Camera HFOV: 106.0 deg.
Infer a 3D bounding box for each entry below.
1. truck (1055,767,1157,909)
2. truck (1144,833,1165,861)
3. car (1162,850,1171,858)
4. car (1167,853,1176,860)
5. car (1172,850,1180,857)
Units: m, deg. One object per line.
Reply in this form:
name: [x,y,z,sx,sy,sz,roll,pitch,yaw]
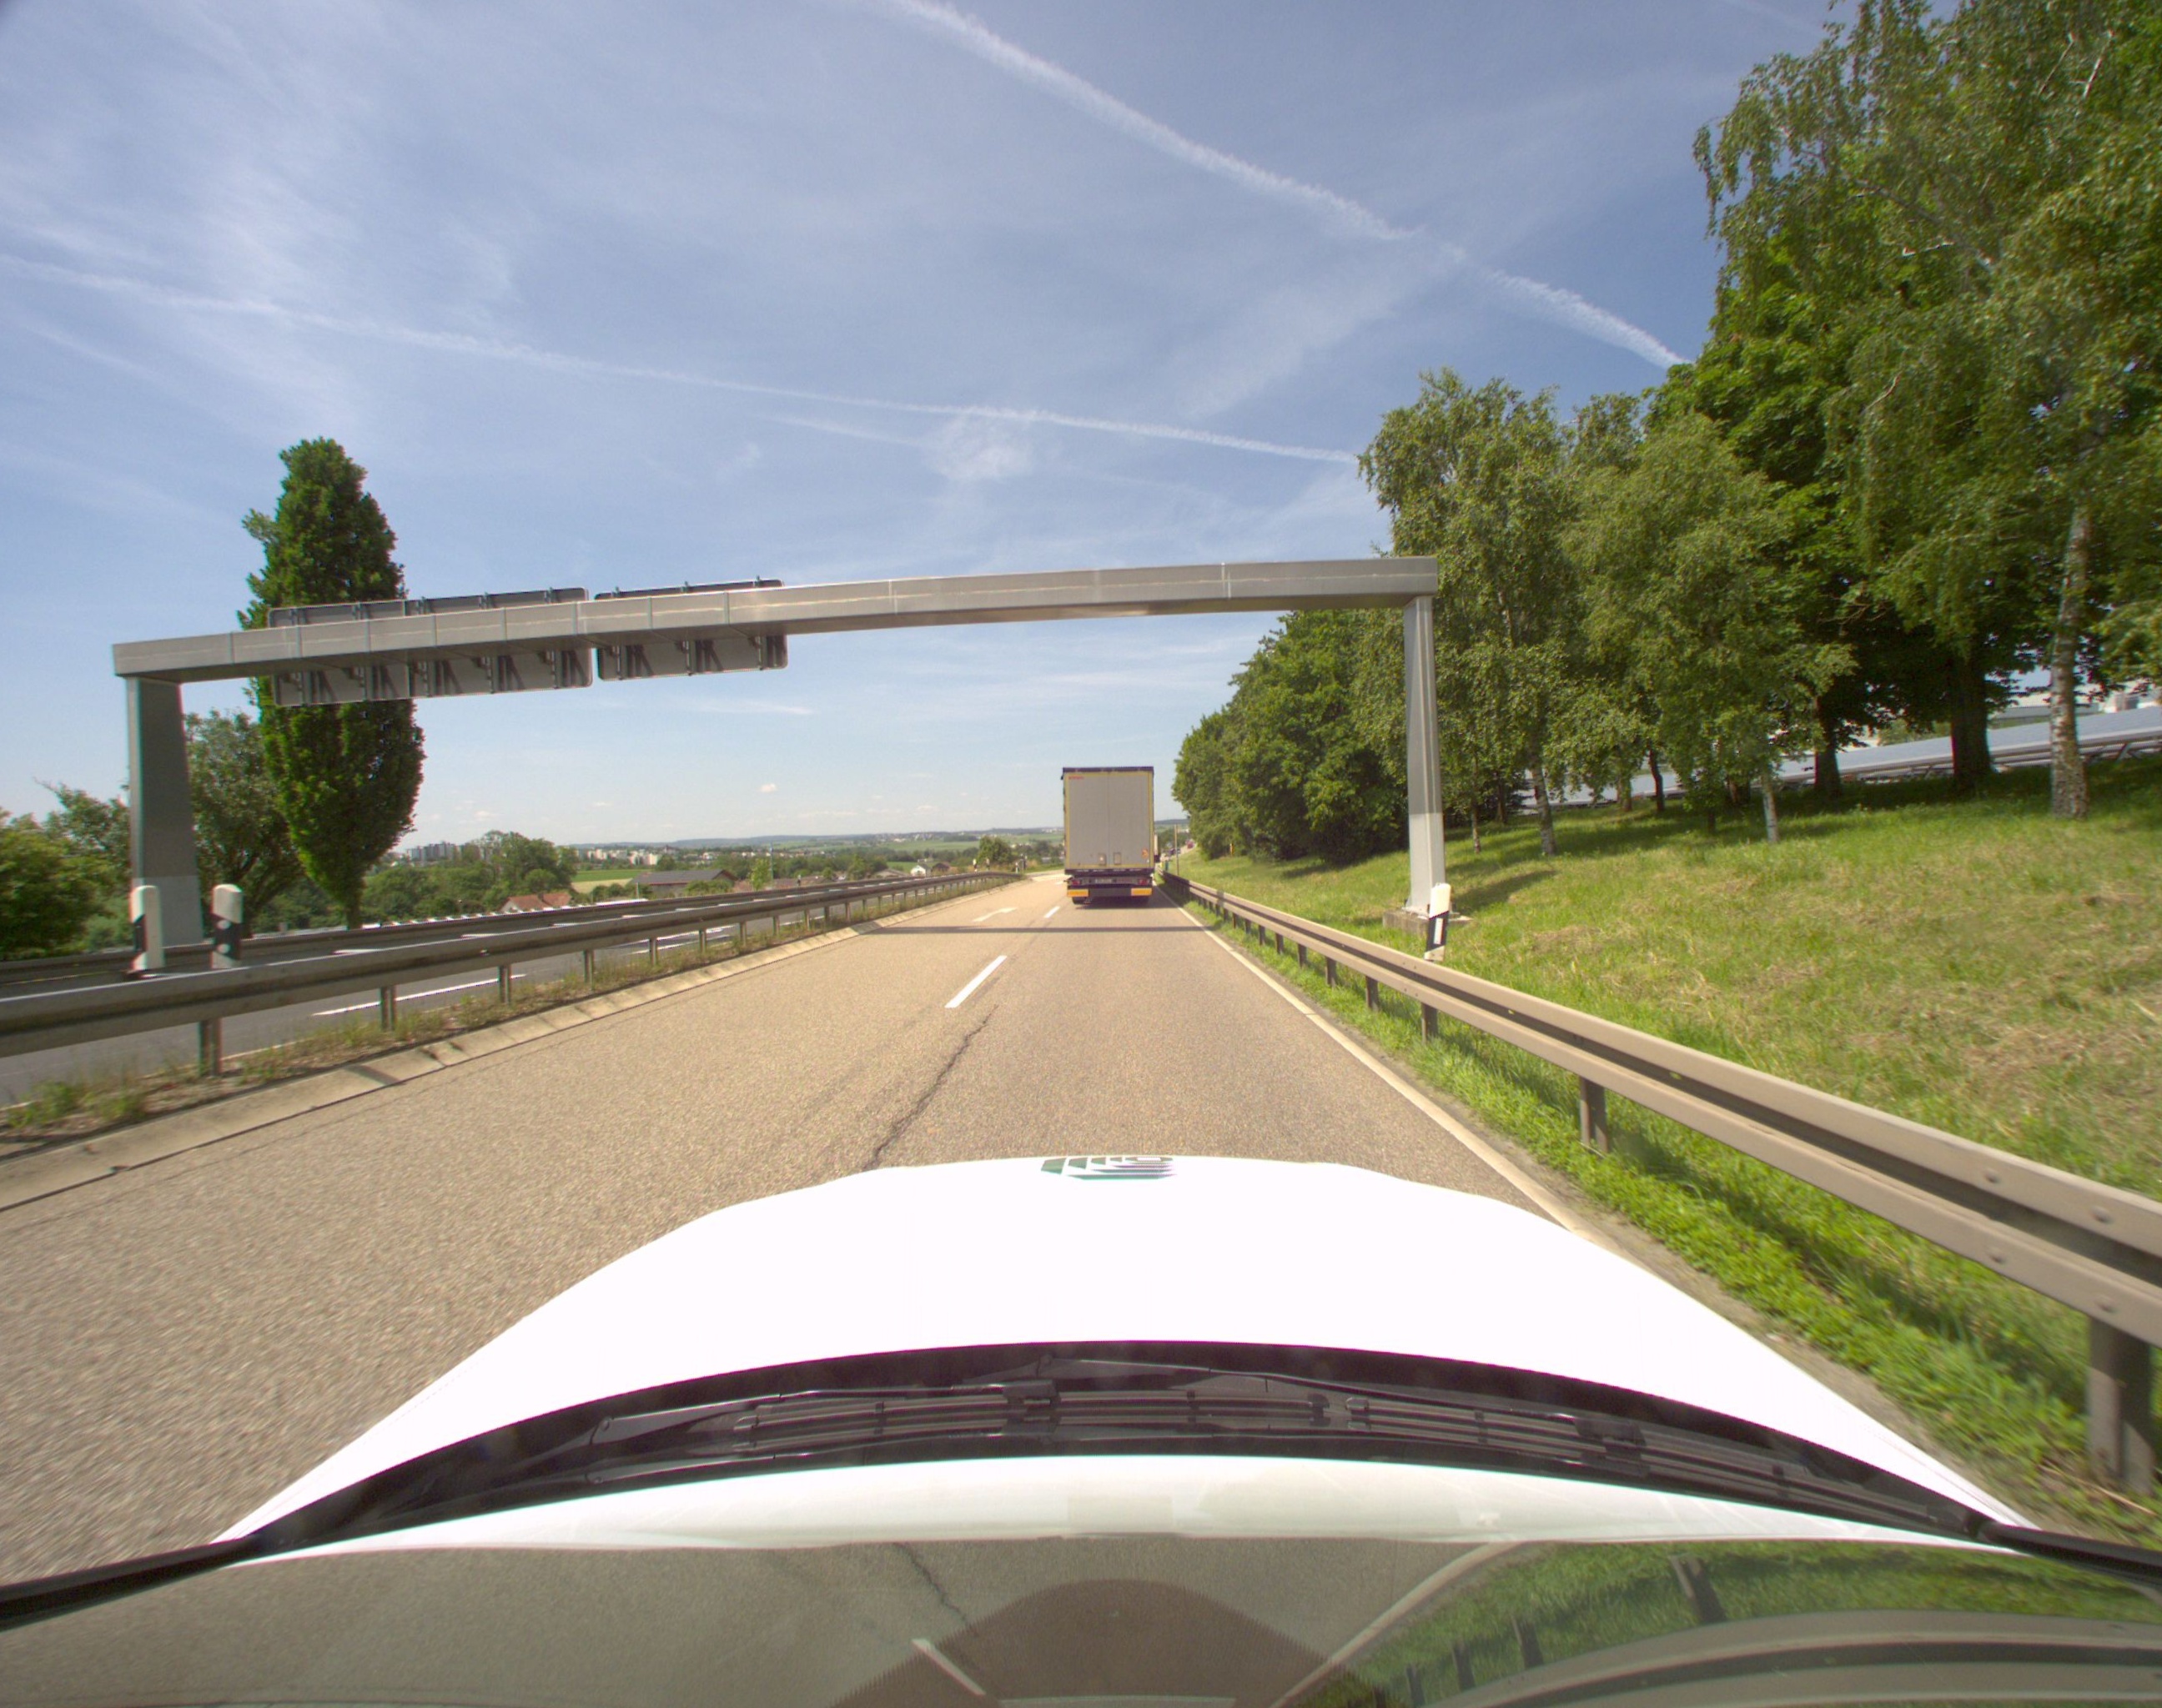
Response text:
truck: [0.931,-0.460,28.341,2.788,3.929,11.348,-1,0,2]
truck: [10.683,-0.975,117.695,2.642,3.765,10.179,-1,-1,6]
car: [19.434,0.065,185.048,1.780,1.688,4.001,-1,-1,1]
car: [22.894,0.543,205.751,1.780,1.688,4.001,-1,-1,1]
car: [26.468,-0.126,227.316,1.780,1.688,4.001,-1,-1,1]
